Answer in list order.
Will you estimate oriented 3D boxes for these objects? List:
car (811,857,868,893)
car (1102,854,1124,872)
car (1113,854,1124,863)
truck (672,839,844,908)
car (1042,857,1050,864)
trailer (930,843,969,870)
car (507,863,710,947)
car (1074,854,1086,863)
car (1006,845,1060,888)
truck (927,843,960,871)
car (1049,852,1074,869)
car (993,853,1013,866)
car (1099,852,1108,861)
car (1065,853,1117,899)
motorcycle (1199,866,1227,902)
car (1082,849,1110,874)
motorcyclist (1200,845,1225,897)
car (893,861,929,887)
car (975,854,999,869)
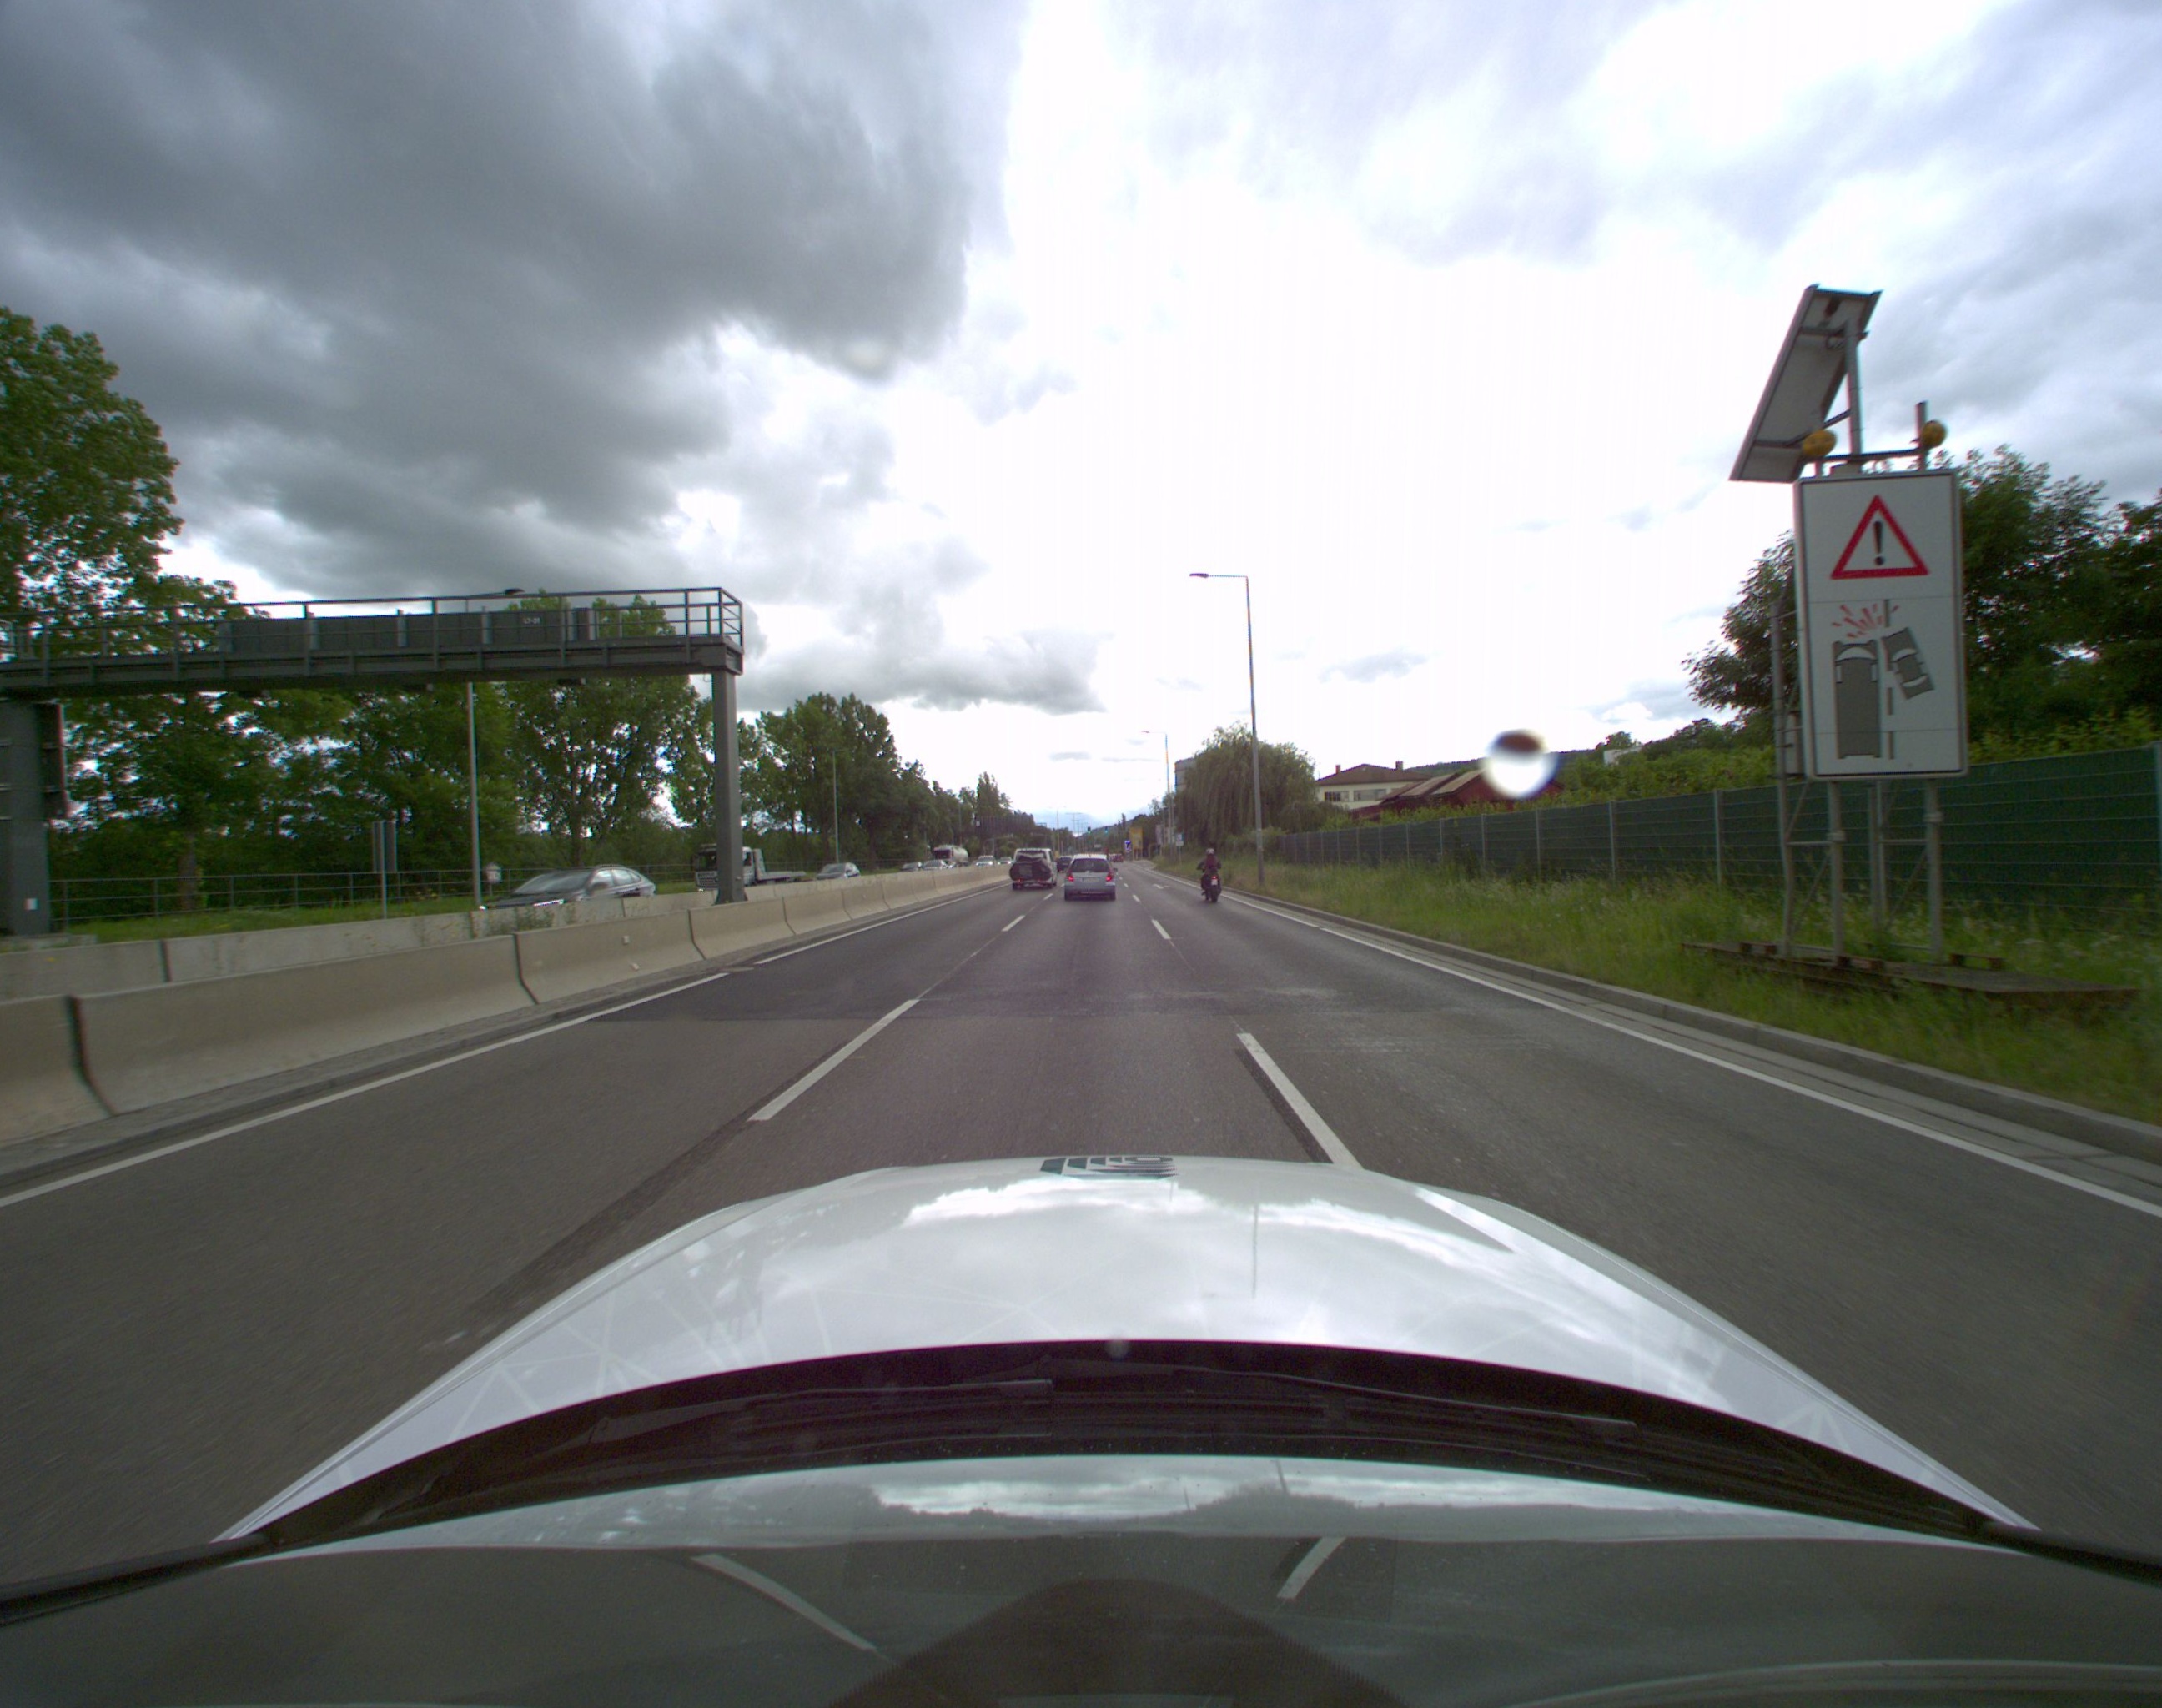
[{"bbox_3d":[-13.303,1.106,45.047,1.809,1.877,4.102,0,0,2],"label":"car"},{"bbox_3d":[2.749,0.770,71.133,1.833,1.464,4.001,0,0,1],"label":"car"},{"bbox_3d":[6.892,0.772,149.212,1.987,1.552,4.000,0,0,0],"label":"car"},{"bbox_3d":[-16.909,0.864,44.728,2.844,3.107,15.888,0,0,1],"label":"truck"},{"bbox_3d":[-8.744,1.610,204.231,1.871,1.683,4.127,0,0,1],"label":"car"},{"bbox_3d":[-16.357,0.300,102.240,3.091,3.220,11.664,0,0,-1],"label":"trailer"},{"bbox_3d":[-10.578,1.057,18.696,1.918,1.618,4.457,0,0,2],"label":"car"},{"bbox_3d":[-0.214,0.845,143.034,1.987,1.552,4.000,0,0,0],"label":"car"},{"bbox_3d":[-2.179,0.536,38.343,2.207,1.925,5.002,0,0,0],"label":"car"},{"bbox_3d":[-16.307,0.329,96.946,3.089,3.219,5.390,0,0,-1],"label":"truck"},{"bbox_3d":[-1.732,0.563,73.246,1.986,1.552,4.001,0,0,1],"label":"car"},{"bbox_3d":[-10.344,0.750,108.005,1.986,1.618,4.699,0,0,2],"label":"car"},{"bbox_3d":[5.001,0.598,180.497,1.986,2.013,4.002,0,0,2],"label":"car"},{"bbox_3d":[0.376,0.723,29.105,1.704,1.530,4.001,0,0,1],"label":"car"},{"bbox_3d":[4.171,0.924,25.849,0.703,1.040,2.029,0,0,3],"label":"motorcycle"},{"bbox_3d":[1.069,0.505,57.194,1.900,1.684,4.002,0,0,2],"label":"car"},{"bbox_3d":[4.170,0.536,25.835,0.682,1.610,0.846,0,0,3],"label":"motorcyclist"},{"bbox_3d":[-13.850,1.606,66.621,1.986,2.013,4.002,0,0,2],"label":"car"},{"bbox_3d":[-10.435,0.857,90.635,1.986,1.618,4.699,0,0,2],"label":"car"}]
